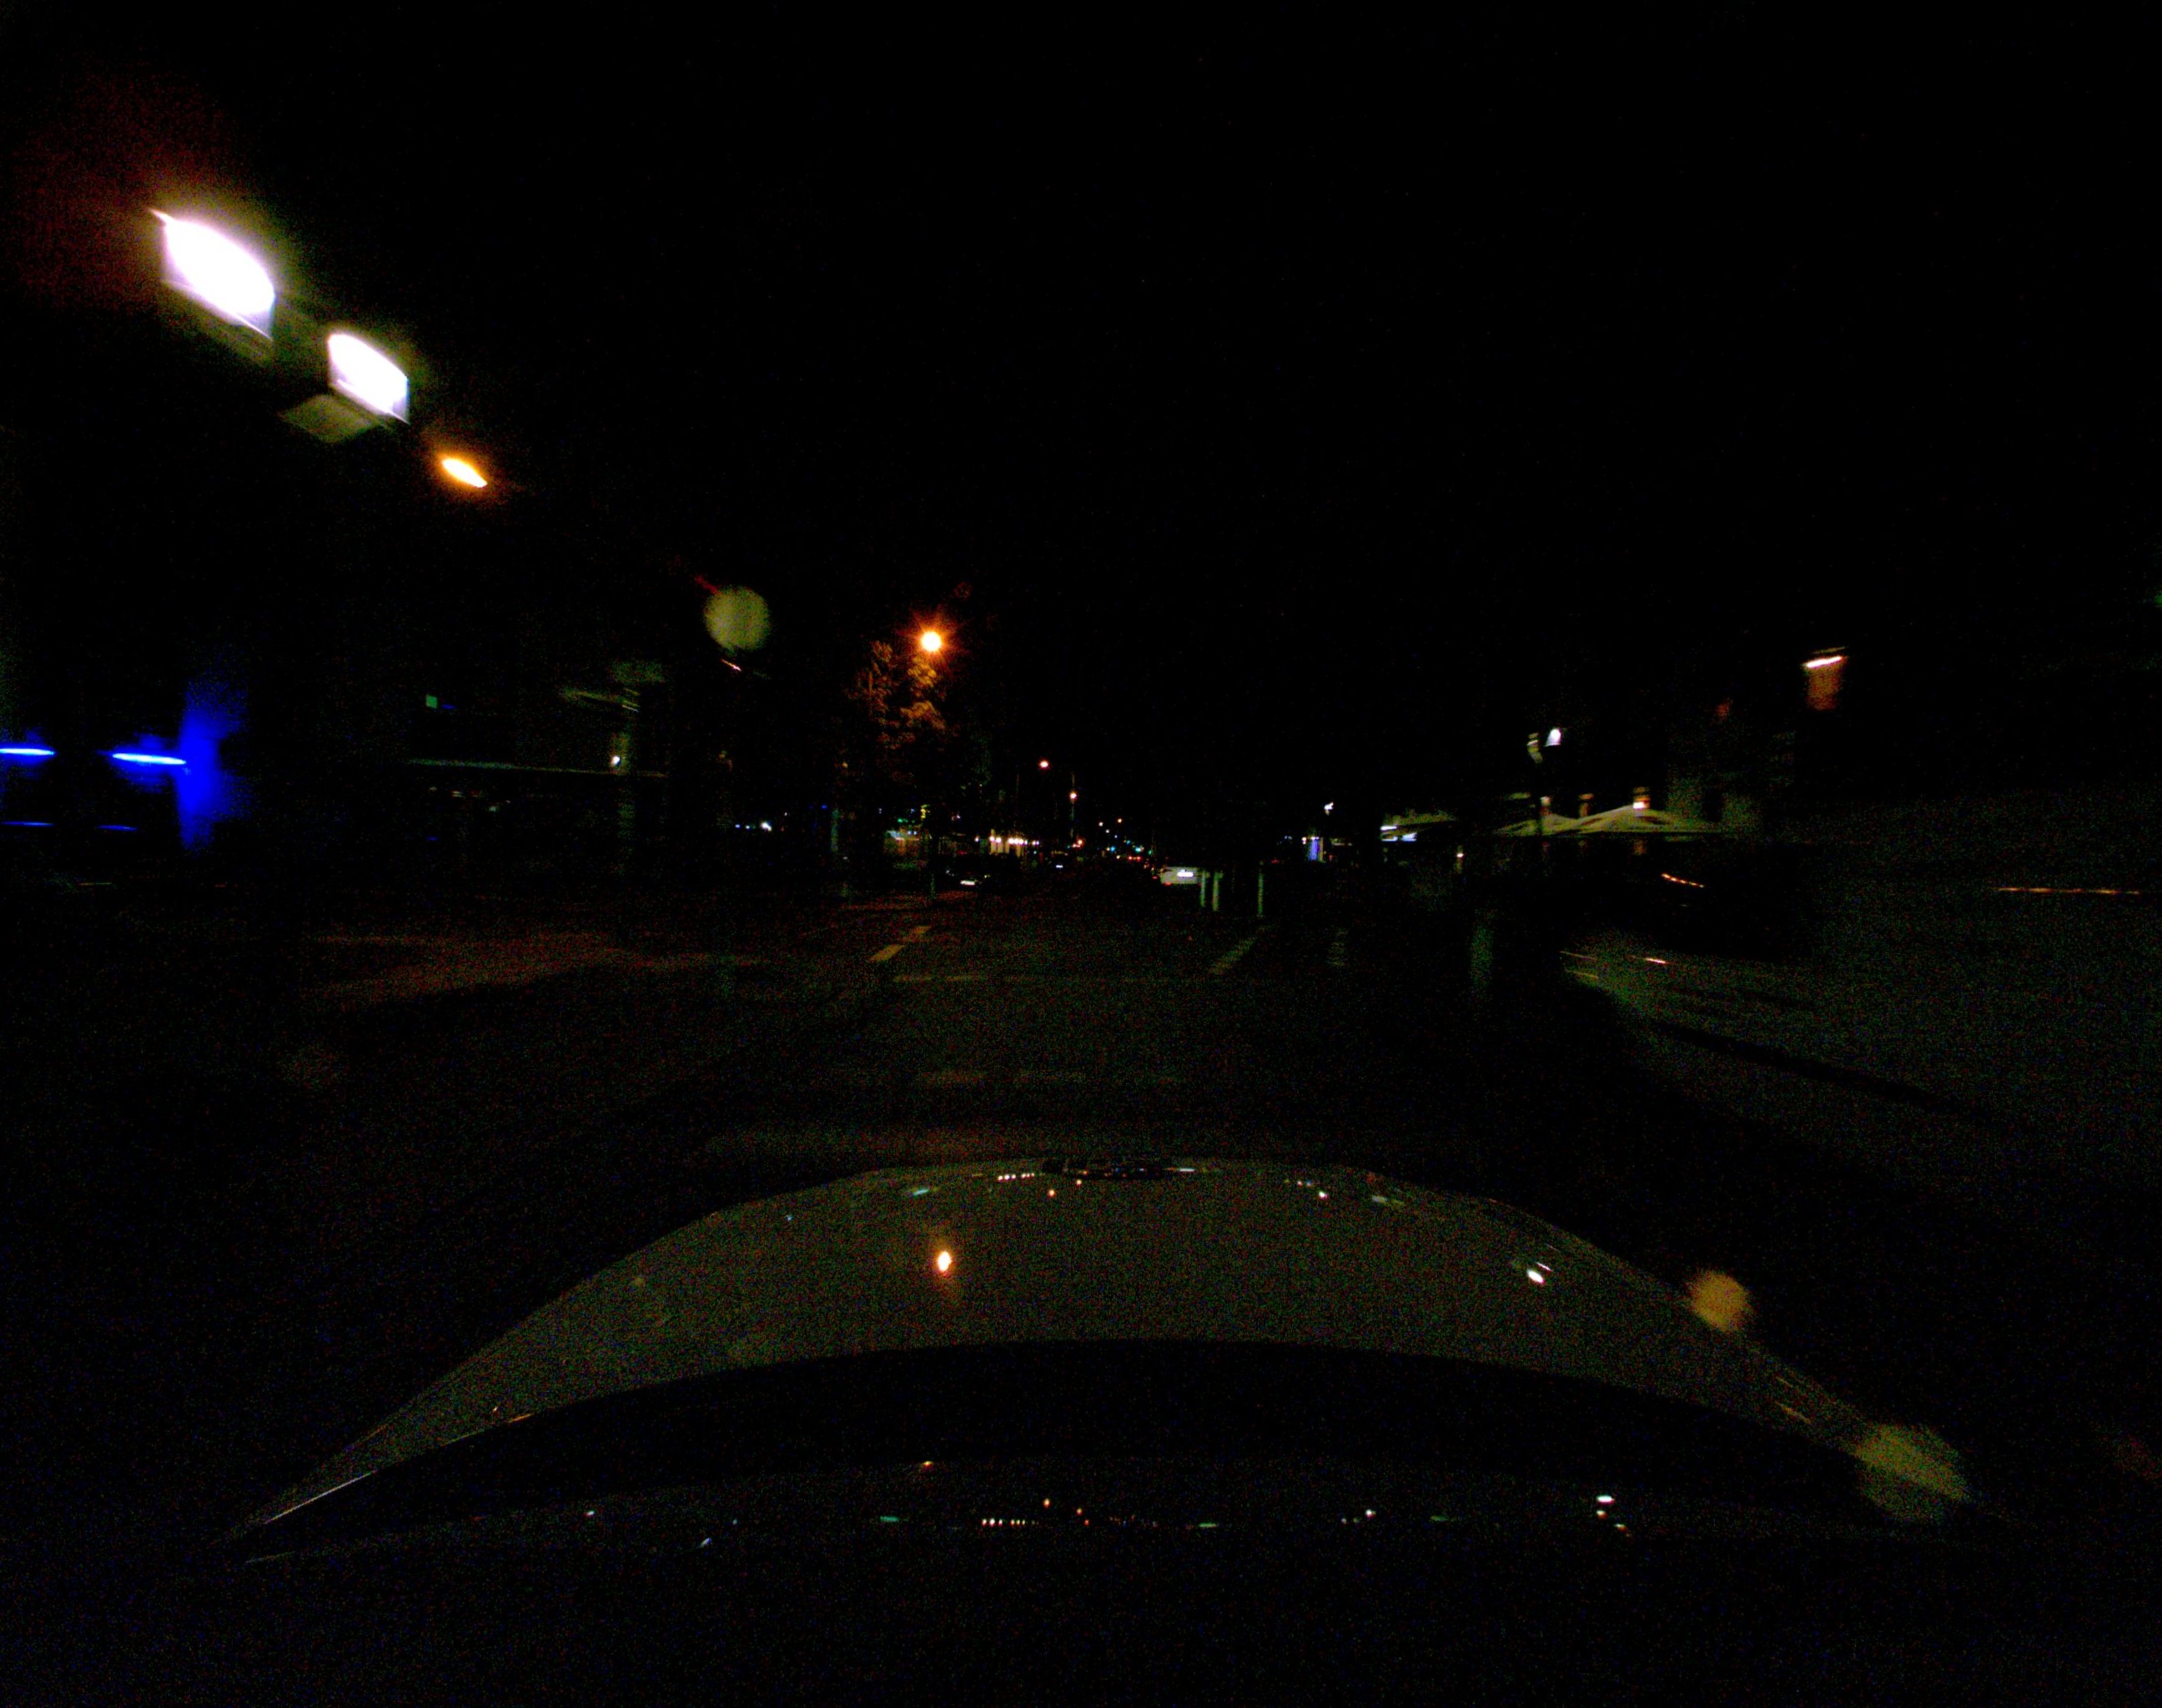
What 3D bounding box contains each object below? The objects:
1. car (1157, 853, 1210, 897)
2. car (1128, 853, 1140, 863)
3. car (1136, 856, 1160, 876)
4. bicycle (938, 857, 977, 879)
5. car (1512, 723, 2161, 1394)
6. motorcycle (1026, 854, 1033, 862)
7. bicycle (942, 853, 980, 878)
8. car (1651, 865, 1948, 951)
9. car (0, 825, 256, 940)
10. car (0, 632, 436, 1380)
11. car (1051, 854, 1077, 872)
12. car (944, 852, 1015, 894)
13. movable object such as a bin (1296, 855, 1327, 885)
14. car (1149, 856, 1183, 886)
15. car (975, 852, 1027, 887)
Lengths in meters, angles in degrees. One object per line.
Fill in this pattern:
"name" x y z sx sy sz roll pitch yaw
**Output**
"car" 3.824 0.749 31.060 1.762 1.537 4.221 0 0 4
"car" 9.025 0.597 138.096 1.985 1.643 4.003 1 0 3
"car" 5.139 0.897 62.994 1.756 1.414 4.813 1 0 4
"bicycle" -6.288 0.701 41.660 1.843 1.035 0.533 3 0 2
"car" 3.892 0.565 3.526 1.782 1.822 4.582 1 0 2
"motorcycle" -6.724 0.476 106.324 0.475 1.020 1.681 2 0 14
"bicycle" -6.211 0.604 42.319 1.843 1.254 0.533 1 0 2
"car" 14.129 1.030 16.223 4.299 1.532 1.804 1 -1 2
"car" -14.509 0.324 11.297 4.311 1.397 1.804 2 0 2
"car" -3.872 0.389 1.159 1.848 2.087 5.086 3 0 -2
"car" -1.443 0.725 69.871 1.733 1.413 4.500 2 0 4
"car" -3.877 0.690 31.912 1.799 1.425 4.926 3 0 3
"movable object such as a bin" 10.710 0.733 37.915 1.156 1.371 0.994 2 0 1
"car" 4.630 0.874 44.761 1.682 1.537 4.020 1 0 4
"car" -3.657 0.692 37.788 1.715 1.428 3.980 3 0 3
